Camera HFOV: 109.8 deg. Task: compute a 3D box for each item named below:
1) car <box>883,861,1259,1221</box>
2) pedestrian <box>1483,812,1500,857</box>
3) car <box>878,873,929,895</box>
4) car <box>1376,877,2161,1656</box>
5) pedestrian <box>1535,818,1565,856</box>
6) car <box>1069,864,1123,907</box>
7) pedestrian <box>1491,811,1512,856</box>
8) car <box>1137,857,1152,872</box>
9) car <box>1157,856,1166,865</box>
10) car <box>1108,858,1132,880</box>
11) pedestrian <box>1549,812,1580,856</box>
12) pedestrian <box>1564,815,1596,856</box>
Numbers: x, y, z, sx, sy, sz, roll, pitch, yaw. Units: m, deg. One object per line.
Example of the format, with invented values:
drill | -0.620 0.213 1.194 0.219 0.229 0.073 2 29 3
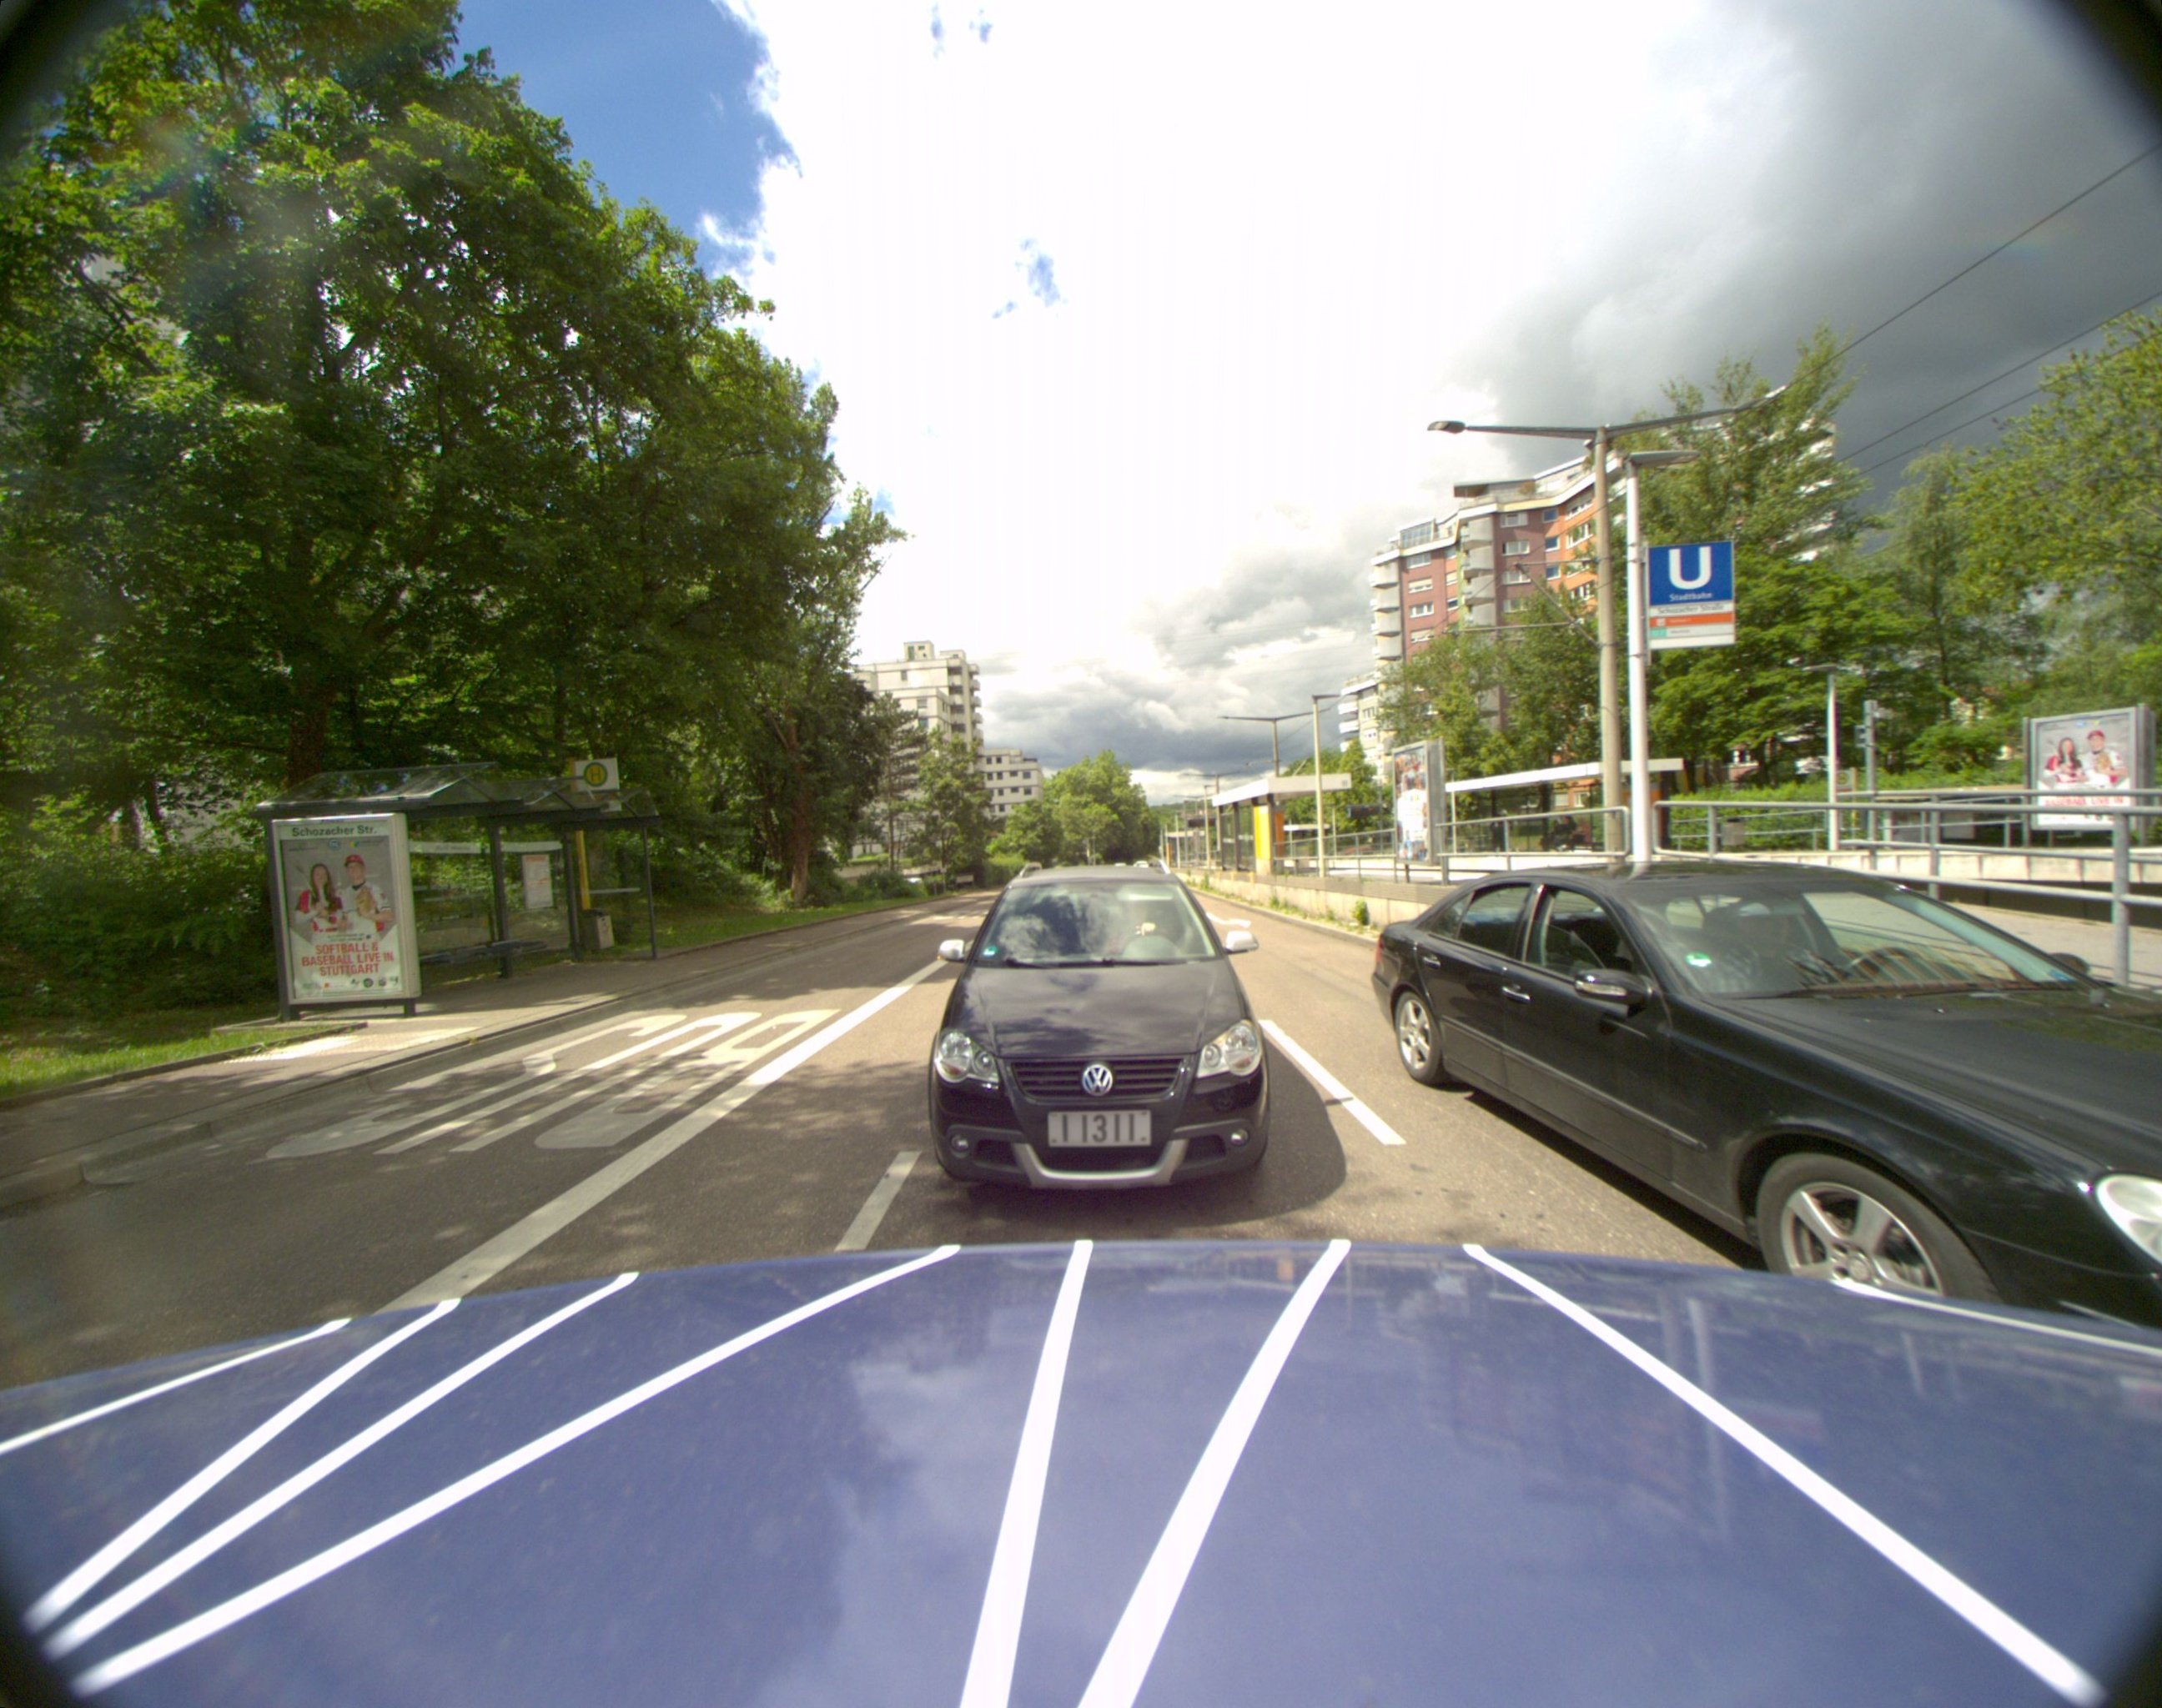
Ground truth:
car | 0.056 0.881 5.449 1.641 1.521 4.001 -3 0 3
pedestrian | 15.888 -0.757 29.412 0.354 1.703 0.426 -3 1 -40
car | -18.054 3.045 77.366 4.543 2.002 2.001 -3 0 8
car | 2.985 0.877 3.113 1.822 1.377 4.065 -2 0 -2
pedestrian | 16.196 -0.594 26.257 0.712 1.270 0.463 -2 0 1
car | 0.639 1.137 28.660 1.821 1.377 4.066 -2 0 3
pedestrian | 16.121 -0.789 29.136 0.387 1.703 0.550 -3 1 -41
car | 8.094 1.324 96.790 1.801 1.698 4.001 -3 0 5
car | 15.506 1.245 146.320 1.518 1.674 4.001 -2 0 5
car | 3.992 1.523 77.046 1.997 2.002 4.002 -3 0 8
pedestrian | 16.027 -0.660 25.196 0.712 1.409 0.463 -2 0 1
pedestrian | 15.996 -0.592 24.363 0.712 1.270 0.463 -2 0 1
